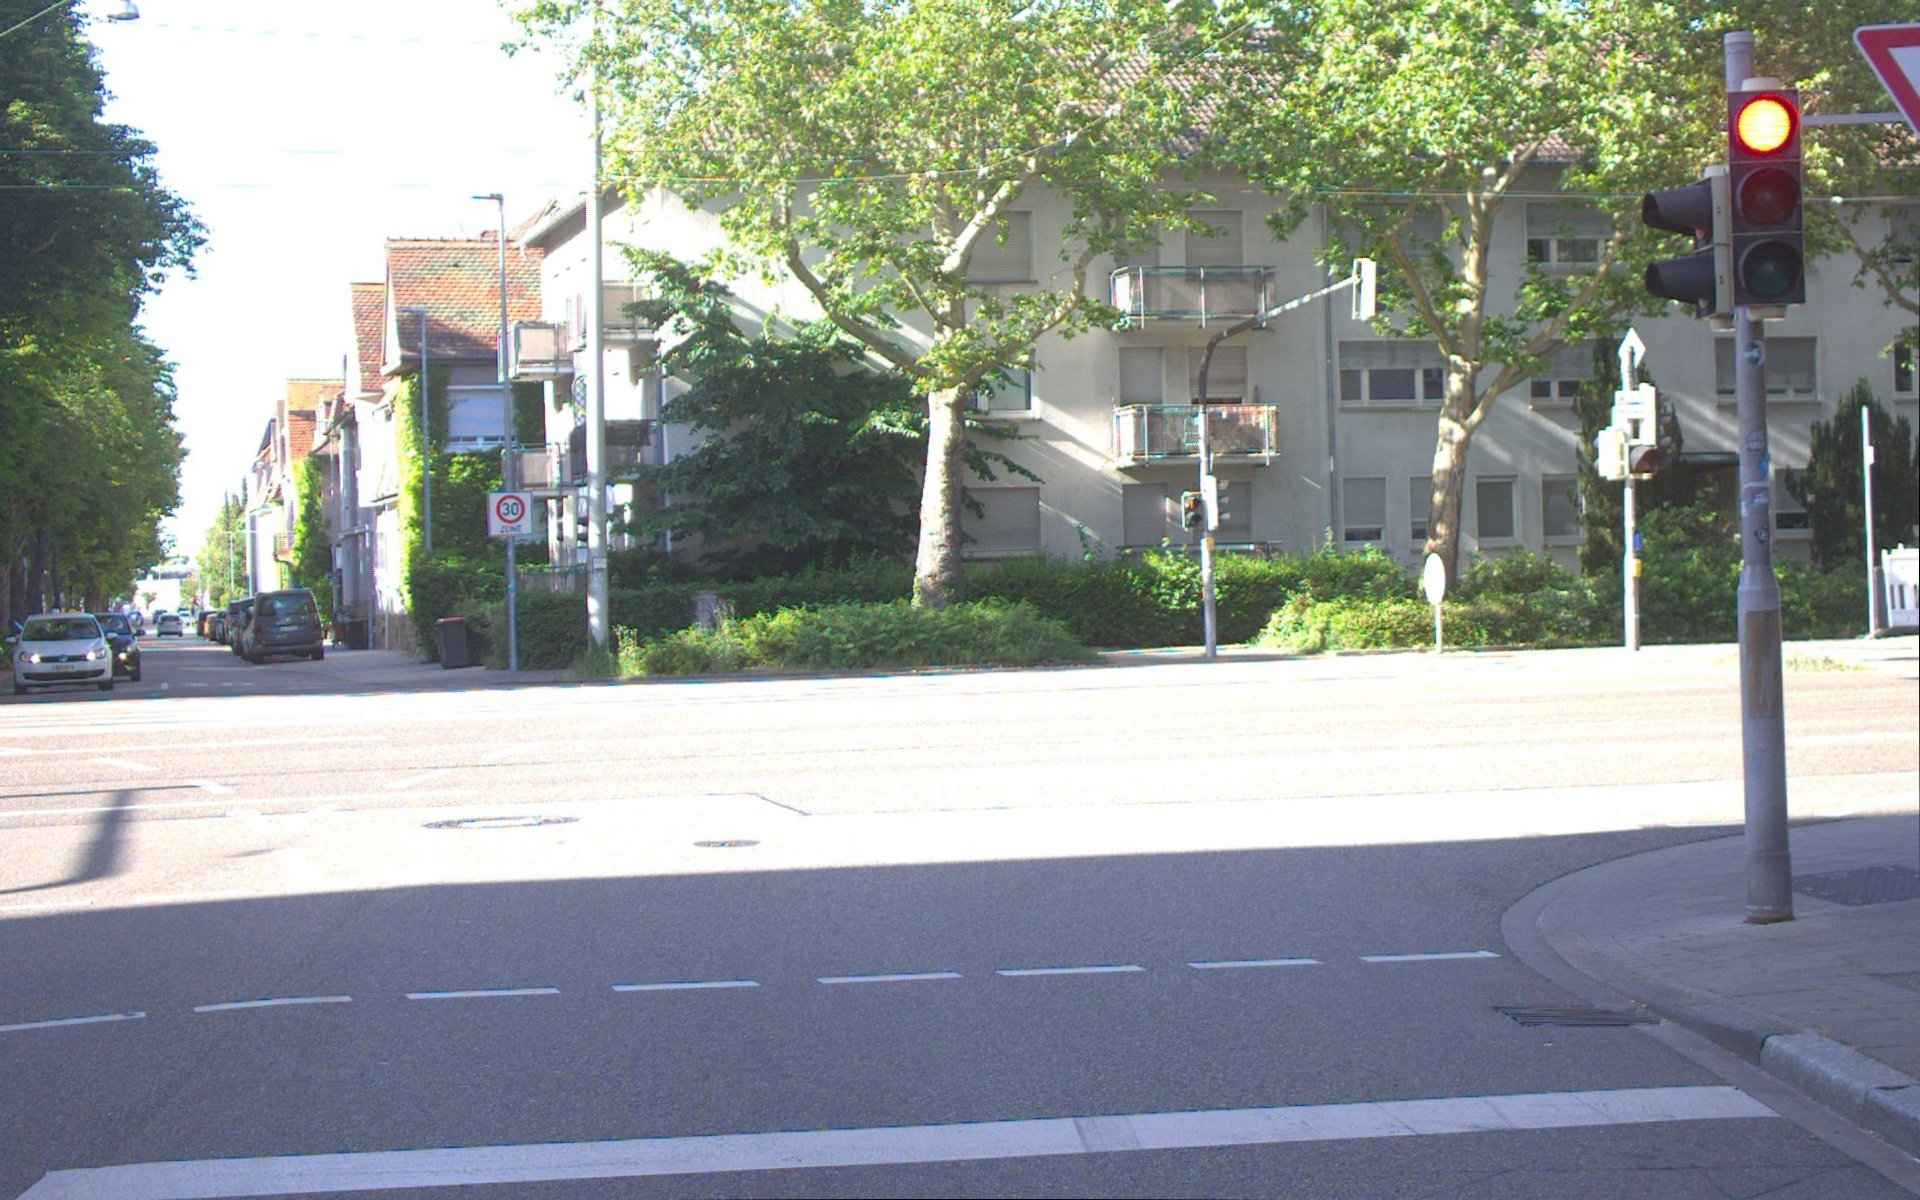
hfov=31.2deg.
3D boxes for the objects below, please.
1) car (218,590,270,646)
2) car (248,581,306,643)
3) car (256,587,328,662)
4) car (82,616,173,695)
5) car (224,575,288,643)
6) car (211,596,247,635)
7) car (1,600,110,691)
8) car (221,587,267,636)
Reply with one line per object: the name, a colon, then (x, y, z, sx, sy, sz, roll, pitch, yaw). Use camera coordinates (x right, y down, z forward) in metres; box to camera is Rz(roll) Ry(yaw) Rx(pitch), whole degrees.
car: (-26.688, 0.659, 128.156, 1.772, 1.912, 3.535, -3, 1, -12)
car: (-22.911, 0.384, 115.263, 1.772, 1.912, 3.535, -3, 1, -12)
car: (-18.378, 0.653, 94.530, 1.772, 1.912, 3.535, -3, 1, -12)
car: (-17.607, 1.146, 72.784, 1.698, 1.478, 3.535, -3, 1, -12)
car: (-21.441, 0.261, 104.645, 1.772, 1.912, 3.535, -3, 1, -12)
car: (-38.450, 0.803, 180.824, 1.772, 1.912, 3.535, -3, 1, -12)
car: (-16.638, 0.812, 63.359, 1.698, 1.478, 3.535, -3, 1, -12)
car: (-30.516, 0.477, 146.441, 1.772, 1.912, 3.535, -3, 1, -12)
